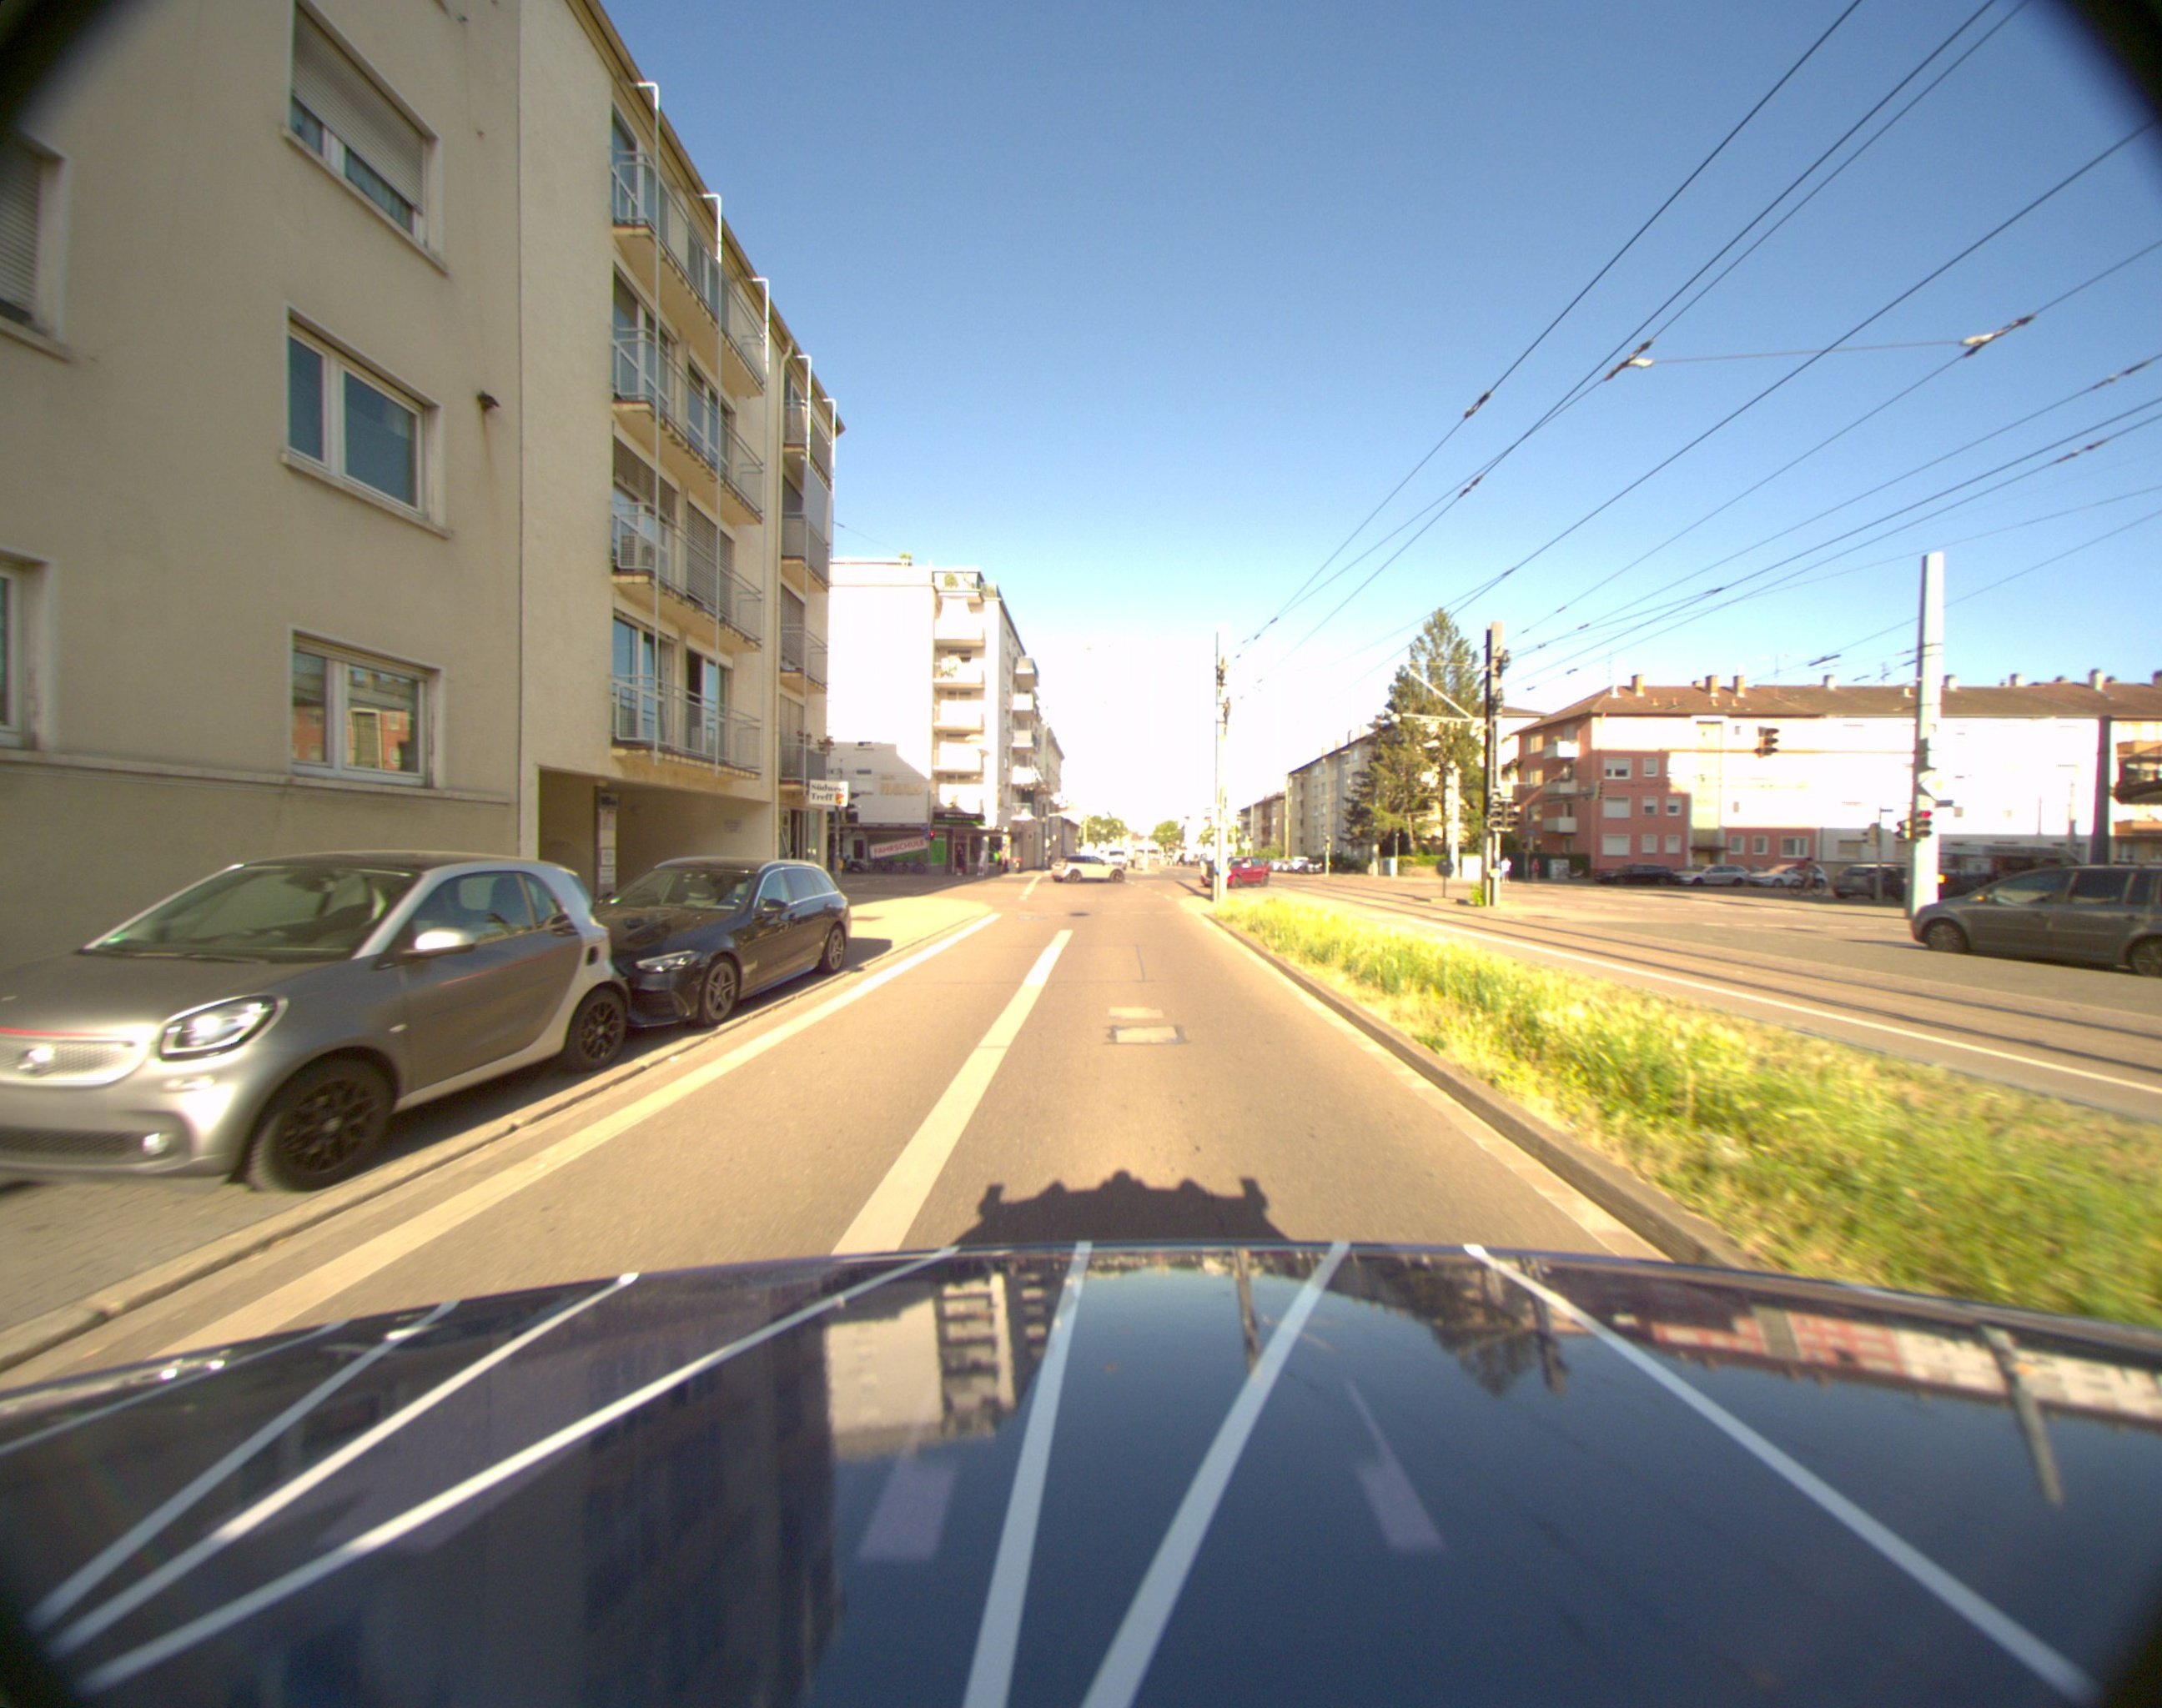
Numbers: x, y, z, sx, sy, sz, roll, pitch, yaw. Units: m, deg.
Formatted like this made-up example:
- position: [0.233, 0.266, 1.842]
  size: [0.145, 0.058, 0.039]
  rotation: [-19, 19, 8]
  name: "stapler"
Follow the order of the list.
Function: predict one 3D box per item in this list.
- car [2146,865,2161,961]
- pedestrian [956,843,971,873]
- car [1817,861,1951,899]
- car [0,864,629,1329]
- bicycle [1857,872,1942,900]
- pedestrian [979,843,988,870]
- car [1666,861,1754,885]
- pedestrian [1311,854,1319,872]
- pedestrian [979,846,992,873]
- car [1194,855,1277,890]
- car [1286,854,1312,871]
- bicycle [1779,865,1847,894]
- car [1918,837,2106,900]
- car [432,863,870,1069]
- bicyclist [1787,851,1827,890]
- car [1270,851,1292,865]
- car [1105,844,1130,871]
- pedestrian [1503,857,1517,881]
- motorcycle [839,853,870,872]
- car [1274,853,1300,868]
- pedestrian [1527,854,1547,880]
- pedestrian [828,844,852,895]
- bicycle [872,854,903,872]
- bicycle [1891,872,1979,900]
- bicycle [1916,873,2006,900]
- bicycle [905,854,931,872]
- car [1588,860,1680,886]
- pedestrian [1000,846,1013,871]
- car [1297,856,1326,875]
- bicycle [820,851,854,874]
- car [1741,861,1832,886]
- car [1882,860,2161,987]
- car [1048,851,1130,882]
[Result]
- position: [18.531, 1.033, 10.551]
  size: [1.793, 1.567, 4.045]
  rotation: [1, 2, 2]
  name: "car"
- position: [-7.615, 0.243, 49.359]
  size: [0.737, 1.889, 0.575]
  rotation: [3, 2, 18]
  name: "pedestrian"
- position: [33.753, 1.084, 31.997]
  size: [3.886, 1.424, 1.662]
  rotation: [0, 3, -2]
  name: "car"
- position: [-4.190, 0.888, 4.199]
  size: [1.556, 1.517, 2.988]
  rotation: [1, 1, 1]
  name: "car"
- position: [31.527, 1.200, 29.321]
  size: [0.856, 0.995, 2.258]
  rotation: [0, 0, -1]
  name: "bicycle"
- position: [-6.783, 0.174, 52.703]
  size: [0.598, 1.845, 0.518]
  rotation: [0, 3, -3]
  name: "pedestrian"
- position: [41.563, 1.231, 50.261]
  size: [4.099, 1.429, 1.909]
  rotation: [1, 3, 2]
  name: "car"
- position: [25.423, 0.990, 82.620]
  size: [0.699, 1.876, 0.780]
  rotation: [1, 3, 5]
  name: "pedestrian"
- position: [-6.314, 0.344, 50.392]
  size: [0.661, 1.782, 0.738]
  rotation: [0, 2, 7]
  name: "pedestrian"
- position: [7.051, 0.809, 34.501]
  size: [3.837, 1.477, 1.779]
  rotation: [0, 1, -44]
  name: "car"
- position: [22.909, 0.856, 79.960]
  size: [1.771, 1.589, 4.032]
  rotation: [1, 3, 2]
  name: "car"
- position: [32.778, 1.130, 34.065]
  size: [2.061, 1.175, 0.813]
  rotation: [1, 3, 8]
  name: "bicycle"
- position: [38.758, 0.564, 31.757]
  size: [5.005, 2.468, 2.271]
  rotation: [0, 2, -1]
  name: "car"
- position: [-4.032, 0.898, 8.298]
  size: [1.888, 1.390, 4.741]
  rotation: [3, 1, 3]
  name: "car"
- position: [32.538, 0.730, 34.070]
  size: [0.934, 1.683, 0.813]
  rotation: [1, 3, 8]
  name: "bicyclist"
- position: [23.946, 0.456, 91.068]
  size: [1.660, 1.549, 3.787]
  rotation: [1, 3, 2]
  name: "car"
- position: [3.833, 0.295, 78.848]
  size: [2.339, 2.504, 4.854]
  rotation: [1, 3, 5]
  name: "car"
- position: [28.485, 0.992, 50.490]
  size: [0.573, 1.560, 0.518]
  rotation: [1, 3, 1]
  name: "pedestrian"
- position: [-14.396, 0.548, 48.363]
  size: [1.795, 1.128, 0.608]
  rotation: [0, 3, 0]
  name: "motorcycle"
- position: [23.164, 0.690, 85.480]
  size: [1.833, 1.470, 4.031]
  rotation: [1, 3, 1]
  name: "car"
- position: [30.541, 0.846, 50.892]
  size: [0.705, 1.712, 0.782]
  rotation: [-1, 4, -27]
  name: "pedestrian"
- position: [-8.402, 0.512, 26.505]
  size: [0.688, 1.732, 1.040]
  rotation: [1, 1, -14]
  name: "pedestrian"
- position: [-12.383, 0.578, 48.591]
  size: [1.795, 1.082, 0.608]
  rotation: [0, 3, 0]
  name: "bicycle"
- position: [32.913, 1.221, 29.331]
  size: [0.856, 0.995, 2.258]
  rotation: [0, 0, -1]
  name: "bicycle"
- position: [34.035, 1.241, 29.449]
  size: [0.856, 0.995, 2.258]
  rotation: [0, 0, -1]
  name: "bicycle"
- position: [-10.493, 0.548, 48.806]
  size: [1.537, 1.100, 0.552]
  rotation: [1, 3, 3]
  name: "bicycle"
- position: [36.611, 1.242, 50.392]
  size: [4.437, 1.424, 2.160]
  rotation: [2, 3, -1]
  name: "car"
- position: [-5.172, 0.316, 52.770]
  size: [0.700, 1.641, 0.760]
  rotation: [3, -1, 3]
  name: "pedestrian"
- position: [22.655, 1.120, 74.704]
  size: [1.869, 1.619, 4.072]
  rotation: [1, 3, 5]
  name: "car"
- position: [-14.679, 0.511, 45.706]
  size: [1.795, 1.307, 0.608]
  rotation: [0, 3, 0]
  name: "bicycle"
- position: [46.469, 1.254, 50.105]
  size: [4.226, 1.518, 1.746]
  rotation: [1, 3, 0]
  name: "car"
- position: [15.320, 0.954, 11.469]
  size: [1.934, 1.539, 4.453]
  rotation: [1, 2, 5]
  name: "car"
- position: [0.404, 0.596, 38.616]
  size: [3.822, 1.417, 1.724]
  rotation: [-1, 3, -28]
  name: "car"
